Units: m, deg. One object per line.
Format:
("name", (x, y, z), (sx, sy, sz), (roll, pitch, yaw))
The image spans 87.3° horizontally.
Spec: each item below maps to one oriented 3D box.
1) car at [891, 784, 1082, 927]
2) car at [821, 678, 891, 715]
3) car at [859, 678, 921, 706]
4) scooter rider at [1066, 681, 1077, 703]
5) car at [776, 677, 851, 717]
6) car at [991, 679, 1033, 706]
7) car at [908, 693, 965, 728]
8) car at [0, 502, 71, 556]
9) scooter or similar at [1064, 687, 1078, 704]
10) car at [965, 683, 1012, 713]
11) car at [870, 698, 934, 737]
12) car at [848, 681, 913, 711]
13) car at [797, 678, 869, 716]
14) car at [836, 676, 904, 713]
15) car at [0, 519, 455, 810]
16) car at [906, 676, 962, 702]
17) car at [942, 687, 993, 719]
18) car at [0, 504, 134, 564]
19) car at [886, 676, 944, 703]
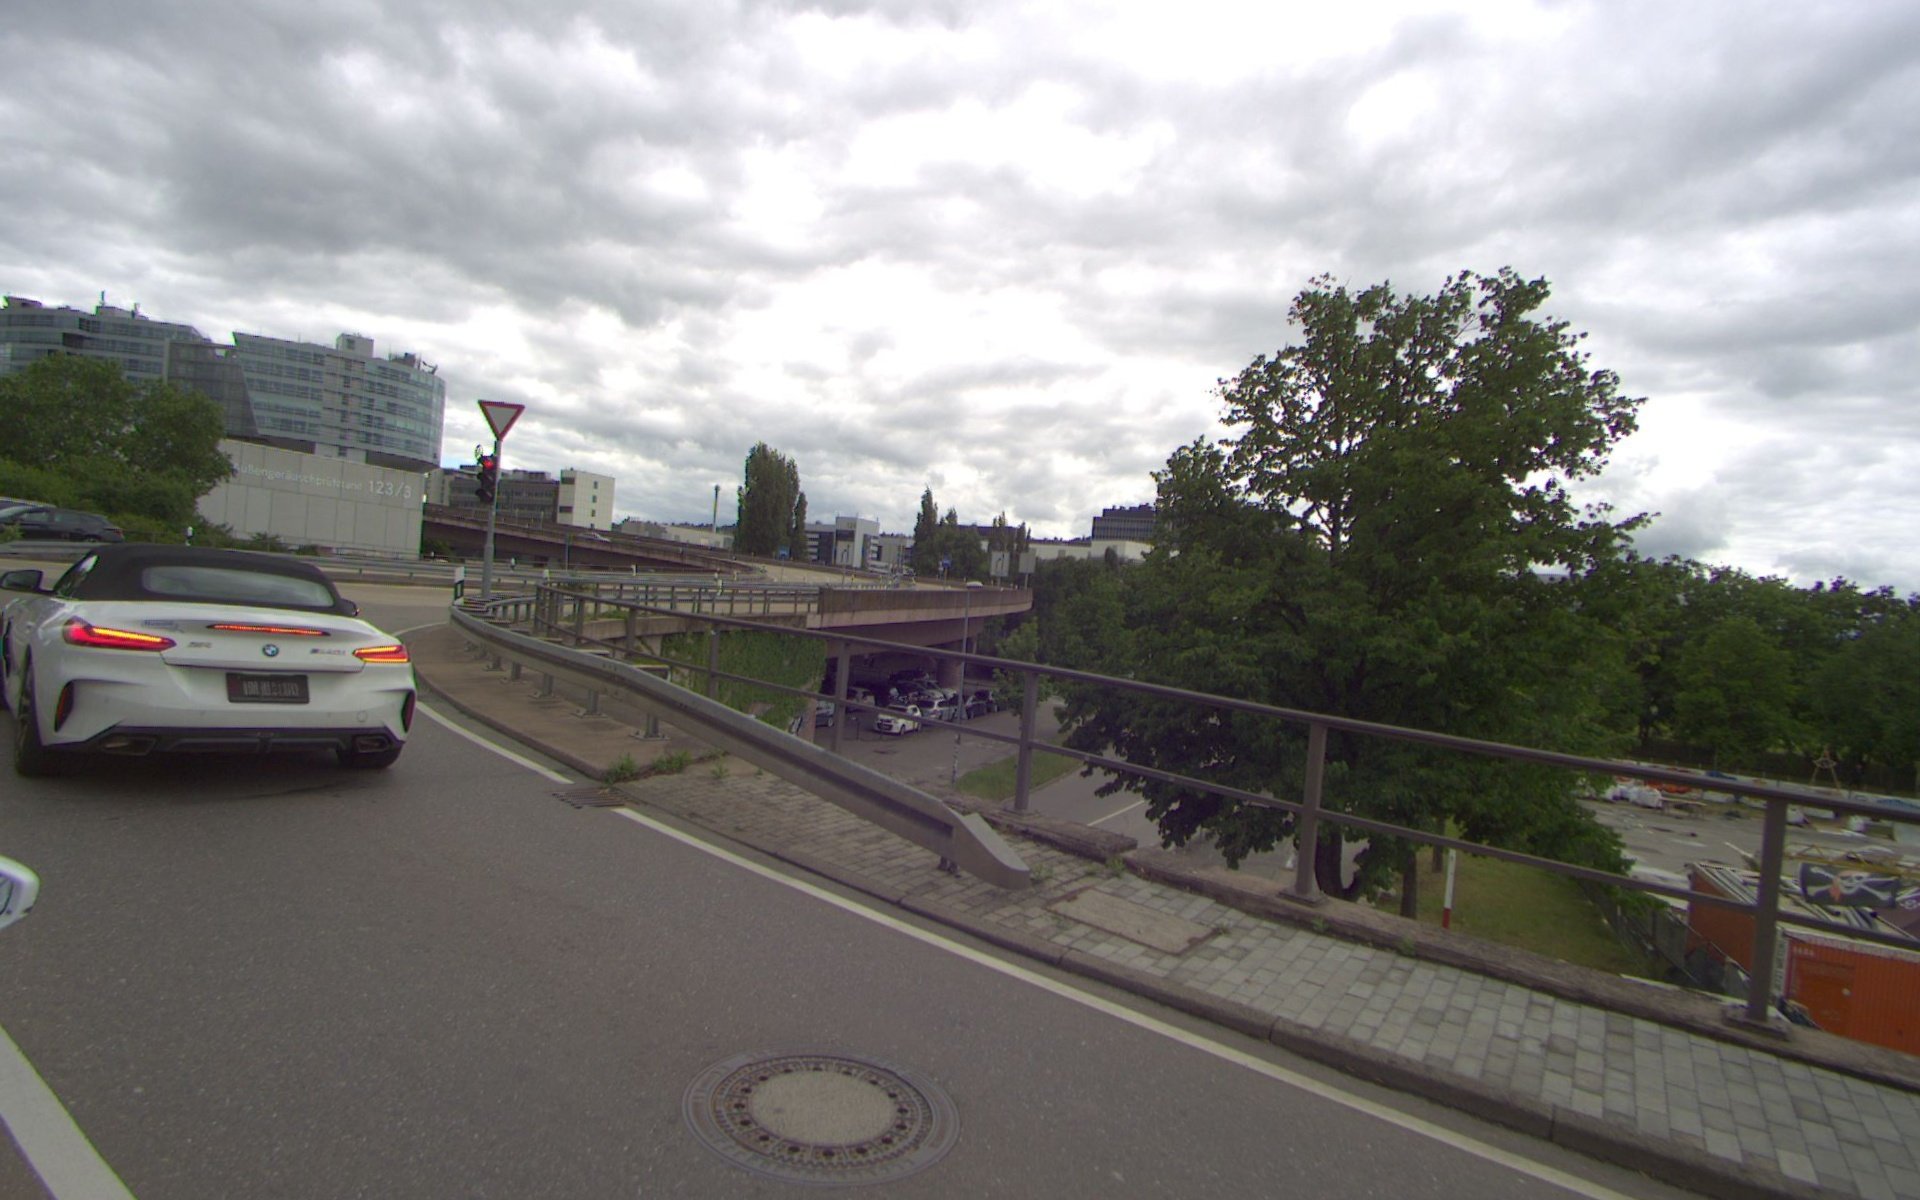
("car", (0.833, 6.335, 25.745), (1.983, 2.618, 5.382), (9, -1, 34))
("car", (-6.509, 6.012, 62.967), (3.790, 1.638, 1.826), (7, 1, 17))
("car", (-4.830, 6.362, 69.808), (3.790, 1.372, 1.826), (7, 1, 17))
("scooter rider", (9.299, 7.672, 83.946), (0.486, 1.776, 0.543), (5, 2, -36))
("car", (-8.490, 5.609, 58.468), (3.790, 1.658, 1.826), (7, 1, 17))
("car", (3.877, 6.801, 74.334), (1.793, 1.553, 3.998), (7, 1, 21))
("car", (-1.317, 6.429, 58.866), (1.793, 1.553, 3.998), (7, 1, 21))
("car", (-33.561, -2.619, 34.097), (1.922, 1.590, 4.688), (7, -1, 29))
("scooter or similar", (9.263, 7.961, 83.979), (0.486, 1.200, 1.062), (5, 2, -36))
("car", (1.965, 6.662, 68.501), (1.793, 1.553, 4.193), (7, 1, 21))
("car", (-3.057, 6.260, 54.040), (1.793, 1.553, 3.998), (7, 1, 21))
("car", (-5.304, 6.386, 67.386), (3.790, 1.372, 1.826), (7, 1, 17))
("car", (-7.632, 5.782, 60.522), (3.790, 1.658, 1.826), (7, 1, 17))
("car", (-5.824, 6.114, 65.091), (3.790, 1.783, 1.826), (7, 1, 17))
("car", (-5.270, 0.281, 6.834), (4.205, 1.306, 1.803), (6, -2, 42))
("car", (-1.976, 6.769, 76.517), (3.790, 1.372, 1.826), (7, 1, 17))
("car", (0.513, 6.529, 64.242), (1.793, 1.553, 3.998), (7, 1, 21))
("car", (-29.941, -2.207, 32.485), (1.921, 1.475, 4.617), (7, -1, 26))
("car", (-3.282, 6.587, 74.001), (3.790, 1.372, 1.826), (7, 1, 17))
